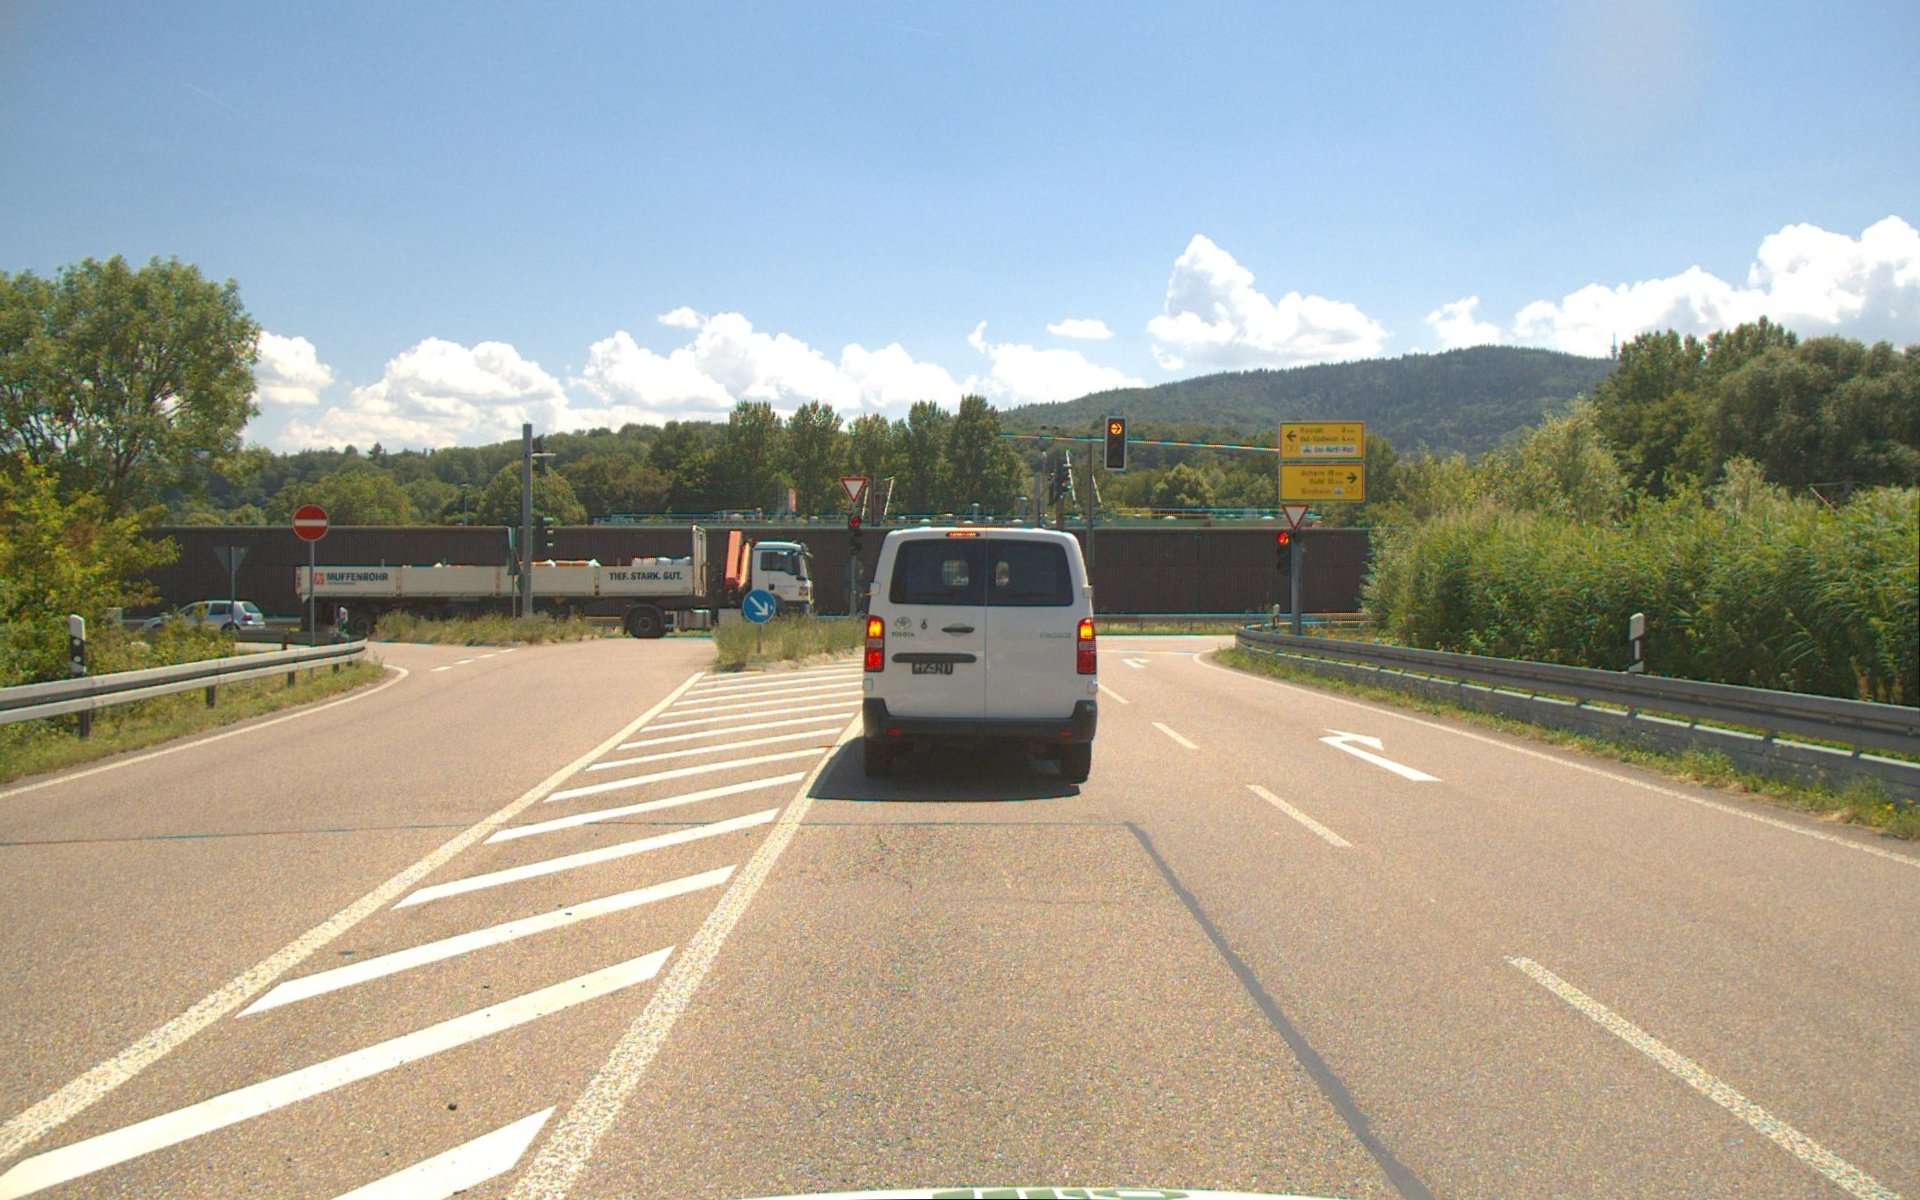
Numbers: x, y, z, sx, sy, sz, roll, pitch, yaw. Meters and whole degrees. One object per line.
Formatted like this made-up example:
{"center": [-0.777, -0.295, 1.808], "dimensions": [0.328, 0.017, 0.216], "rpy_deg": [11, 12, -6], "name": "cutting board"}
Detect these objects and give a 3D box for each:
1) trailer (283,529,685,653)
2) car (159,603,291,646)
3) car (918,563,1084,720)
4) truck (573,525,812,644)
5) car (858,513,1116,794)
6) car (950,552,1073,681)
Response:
{"center": [-15.066, -0.330, 52.983], "dimensions": [12.076, 3.565, 2.231], "rpy_deg": [-2, 1, -3], "name": "trailer"}
{"center": [-26.504, 0.884, 59.729], "dimensions": [3.906, 1.373, 1.848], "rpy_deg": [1, 2, -1], "name": "car"}
{"center": [0.488, 0.495, 21.964], "dimensions": [1.953, 1.844, 4.000], "rpy_deg": [-1, 0, 0], "name": "car"}
{"center": [-8.534, -0.513, 53.298], "dimensions": [7.256, 3.565, 2.232], "rpy_deg": [-1, 1, -2], "name": "truck"}
{"center": [0.177, 0.378, 13.861], "dimensions": [1.832, 1.999, 3.999], "rpy_deg": [1, 0, -1], "name": "car"}
{"center": [0.832, 0.264, 29.030], "dimensions": [1.953, 2.048, 4.000], "rpy_deg": [-1, 0, 0], "name": "car"}
